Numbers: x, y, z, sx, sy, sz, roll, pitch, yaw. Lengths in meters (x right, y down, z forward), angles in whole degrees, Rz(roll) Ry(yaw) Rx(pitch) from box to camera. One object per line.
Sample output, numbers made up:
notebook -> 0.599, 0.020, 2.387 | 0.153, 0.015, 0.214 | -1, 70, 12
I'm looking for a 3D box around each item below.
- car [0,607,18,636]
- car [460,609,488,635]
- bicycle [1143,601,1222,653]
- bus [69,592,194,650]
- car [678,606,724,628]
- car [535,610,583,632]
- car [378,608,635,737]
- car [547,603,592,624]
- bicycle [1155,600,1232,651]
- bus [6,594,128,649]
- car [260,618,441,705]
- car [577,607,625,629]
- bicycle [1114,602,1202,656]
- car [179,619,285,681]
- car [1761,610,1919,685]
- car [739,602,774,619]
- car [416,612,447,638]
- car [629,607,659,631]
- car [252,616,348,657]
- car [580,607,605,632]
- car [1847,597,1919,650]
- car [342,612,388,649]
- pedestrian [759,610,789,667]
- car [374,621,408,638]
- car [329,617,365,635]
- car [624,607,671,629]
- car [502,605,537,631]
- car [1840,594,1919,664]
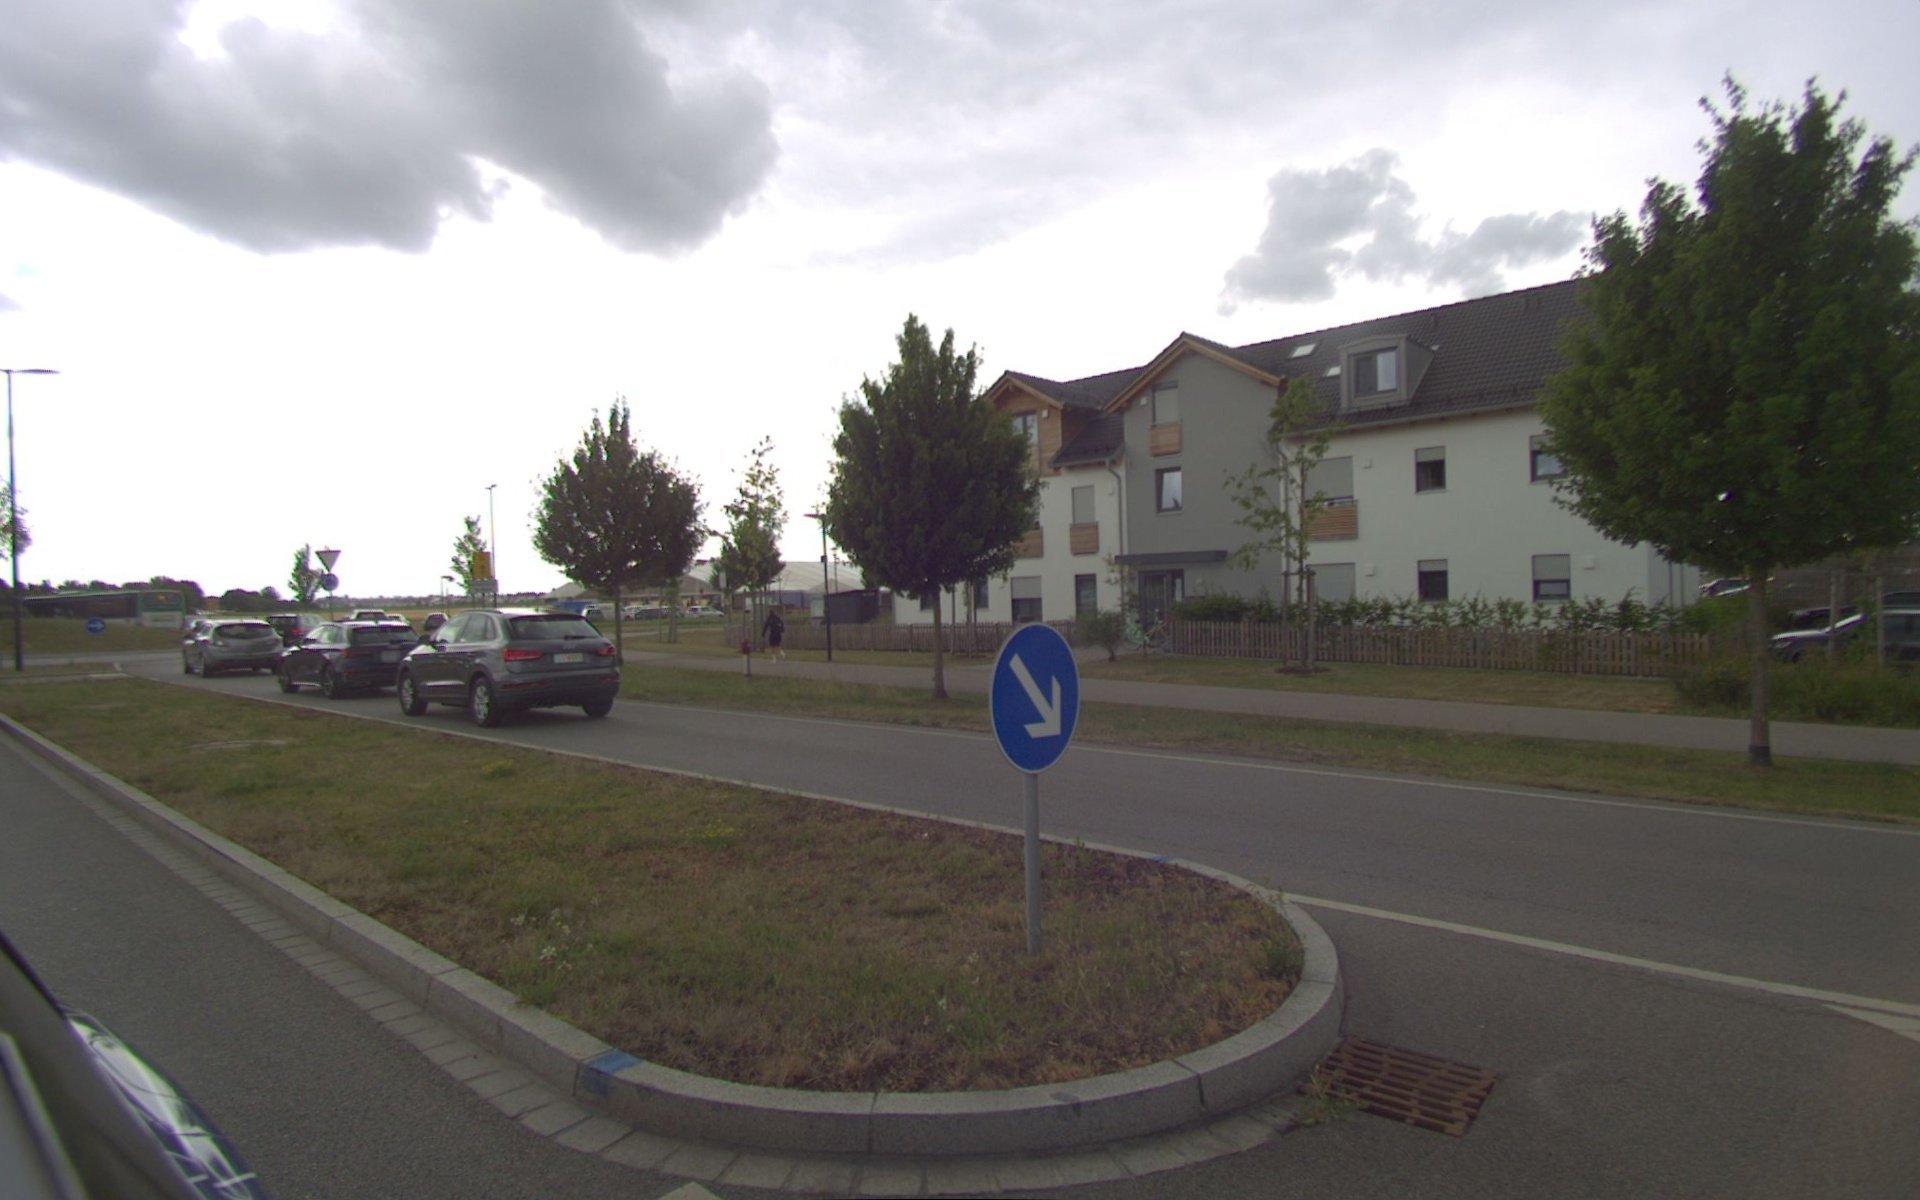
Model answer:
car -> -56.885, 1.253, 58.403 | 1.967, 1.697, 4.010 | -1, -1, -12
car -> -39.247, 1.765, 81.849 | 1.965, 2.029, 4.013 | 0, -1, -24
bicycle -> 6.258, 0.755, 28.567 | 2.093, 1.428, 0.675 | -2, -1, 41
bus -> -49.133, 1.267, 60.024 | 6.439, 3.305, 2.972 | -1, -1, 21
car -> -23.945, 1.560, 93.647 | 1.991, 2.029, 3.961 | -1, -1, 28
car -> -38.403, 2.030, 97.069 | 1.991, 2.029, 3.961 | -1, -1, 28
car -> -6.664, 0.947, 14.671 | 4.214, 1.594, 1.806 | -2, -1, 41
car -> -39.435, 1.335, 102.193 | 1.991, 2.029, 3.961 | -1, -1, 28
bicycle -> 6.709, 0.730, 29.149 | 2.093, 1.439, 0.675 | -2, -1, 41
bus -> -55.215, 1.354, 62.593 | 6.654, 3.305, 2.972 | -1, -1, 21
car -> -11.911, 1.128, 19.669 | 4.348, 1.500, 1.806 | -2, -1, 41
car -> -34.318, 1.749, 96.709 | 1.994, 2.029, 3.956 | -1, -1, 32
bicycle -> 5.454, 0.802, 27.938 | 2.342, 1.423, 0.675 | -2, -1, 41
car -> -19.309, 1.276, 26.777 | 1.804, 1.500, 4.220 | 0, -1, -42
car -> 18.576, 0.920, 20.180 | 3.998, 1.431, 1.856 | -2, -1, 41
car -> -25.720, 1.314, 128.161 | 1.991, 2.029, 4.523 | -1, -1, 28
car -> -42.034, 1.973, 80.555 | 1.965, 2.029, 4.013 | 0, -1, -24
car -> -27.491, 1.643, 88.089 | 2.194, 2.029, 4.013 | 0, -1, -21
car -> -26.004, 1.412, 40.020 | 1.801, 1.500, 4.348 | 0, -1, -13
car -> -31.750, 1.686, 87.395 | 1.965, 2.029, 4.013 | 0, -1, -21
car -> 27.314, 0.637, 28.087 | 3.998, 1.431, 1.856 | -2, -1, 41
car -> -30.232, 1.495, 51.356 | 1.801, 1.735, 4.411 | 0, 0, -33
pedestrian -> -5.208, 1.081, 28.342 | 0.586, 1.541, 0.540 | -2, 1, 41
car -> -44.472, 2.290, 79.154 | 1.965, 1.298, 4.013 | 0, -1, -24
car -> -47.291, 1.999, 78.136 | 1.965, 1.298, 4.013 | 0, -1, -24
car -> -29.603, 1.674, 95.944 | 1.991, 2.029, 3.961 | -1, -1, 28
car -> -35.957, 1.490, 82.528 | 1.966, 2.029, 4.010 | 0, -1, -34
car -> 22.108, 0.629, 22.346 | 3.998, 1.519, 1.973 | -2, -1, 41
